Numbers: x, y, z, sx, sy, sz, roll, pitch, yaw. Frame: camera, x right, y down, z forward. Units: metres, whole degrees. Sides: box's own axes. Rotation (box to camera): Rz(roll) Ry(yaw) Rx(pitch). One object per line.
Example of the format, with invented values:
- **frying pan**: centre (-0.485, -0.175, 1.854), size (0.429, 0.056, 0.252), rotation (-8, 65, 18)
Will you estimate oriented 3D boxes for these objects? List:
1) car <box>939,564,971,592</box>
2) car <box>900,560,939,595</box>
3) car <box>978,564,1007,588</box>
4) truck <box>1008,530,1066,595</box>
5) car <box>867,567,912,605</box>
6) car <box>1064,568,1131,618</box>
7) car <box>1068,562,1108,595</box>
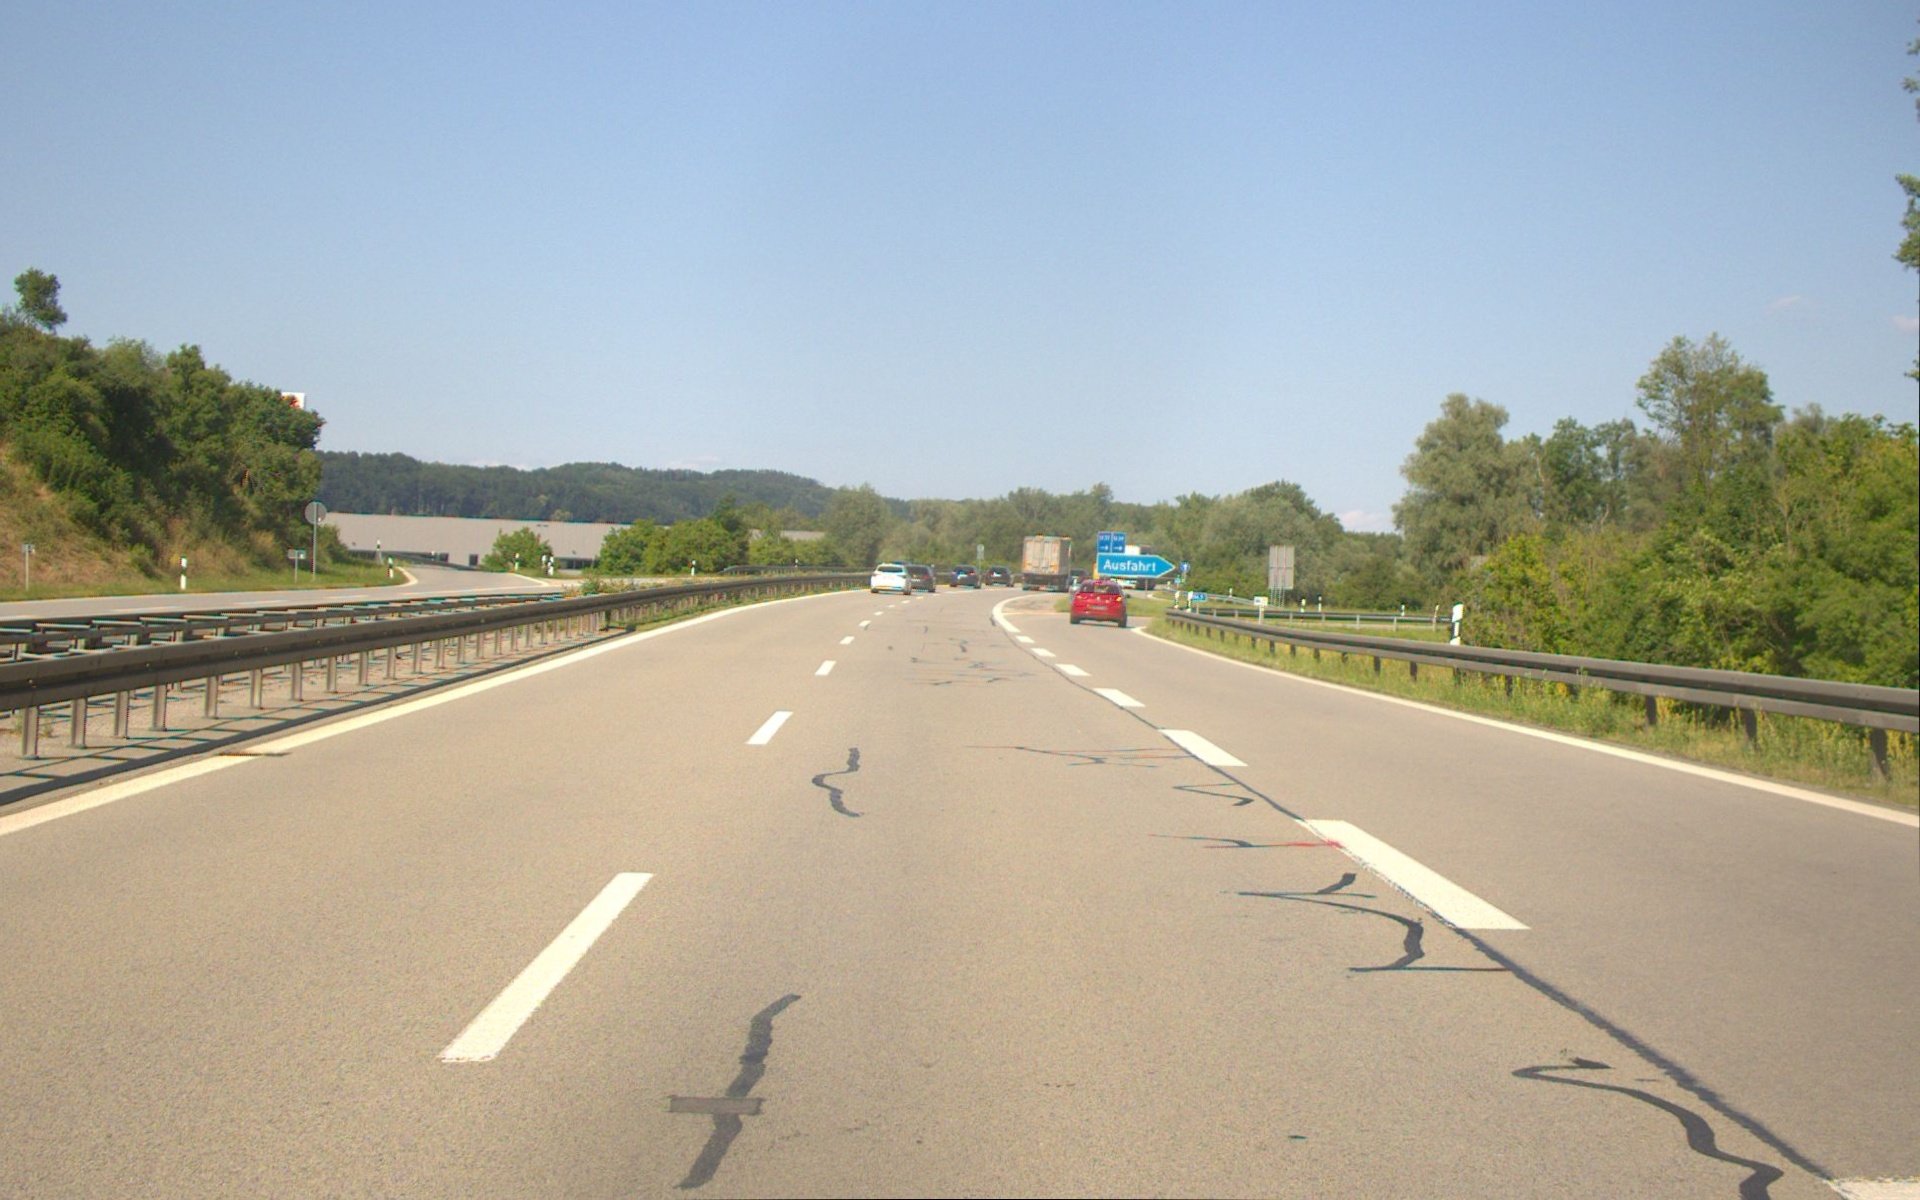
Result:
- **car**: centre (-0.367, -1.476, 225.012), size (1.993, 1.744, 4.000), rotation (2, 1, -1)
- **car**: centre (-2.121, -1.213, 181.780), size (1.993, 1.744, 4.000), rotation (2, 1, -1)
- **car**: centre (2.402, -1.786, 254.799), size (1.993, 1.744, 4.000), rotation (2, 1, 1)
- **truck**: centre (5.502, -2.680, 244.034), size (3.838, 4.382, 11.470), rotation (1, 1, 2)
- **car**: centre (-3.324, -0.666, 162.169), size (2.061, 1.619, 4.000), rotation (1, -2, 0)
- **car**: centre (4.447, -0.207, 110.742), size (1.784, 1.426, 3.999), rotation (5, 0, 6)
- **car**: centre (7.150, -1.195, 192.659), size (1.993, 1.744, 4.000), rotation (2, 1, -1)
